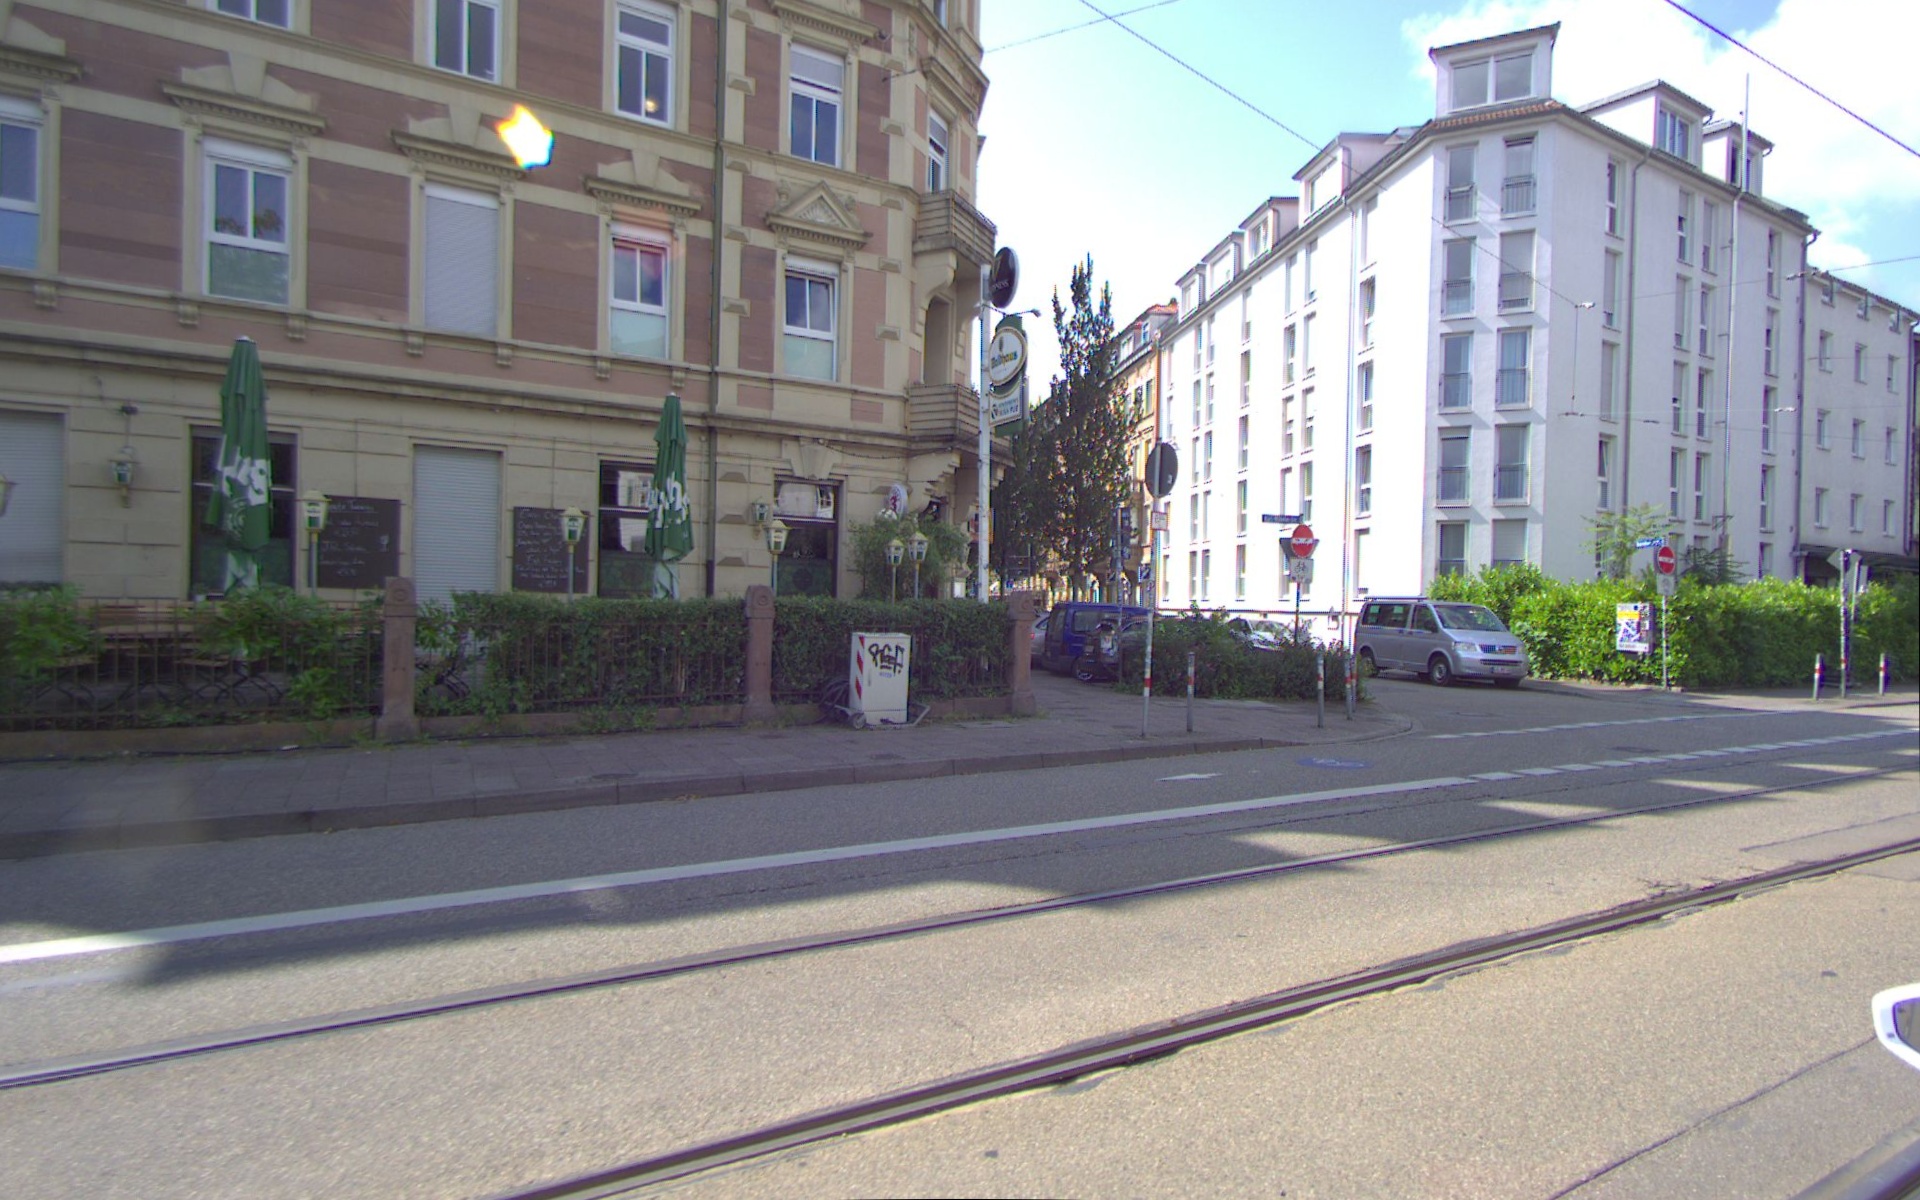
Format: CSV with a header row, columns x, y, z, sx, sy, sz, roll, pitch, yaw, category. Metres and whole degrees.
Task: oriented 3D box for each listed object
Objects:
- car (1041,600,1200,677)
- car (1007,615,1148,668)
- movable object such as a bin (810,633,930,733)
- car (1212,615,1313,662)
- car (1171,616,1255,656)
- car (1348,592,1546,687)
x,y,z,sx,sy,sz,roll,pitch,yaw,category
3.484,0.824,21.994,3.128,1.588,1.391,1,0,-11,car
2.835,1.003,24.443,3.128,1.169,1.355,1,0,-11,car
-1.012,0.906,11.257,1.101,1.001,0.741,1,2,-30,movable object such as a bin
10.127,1.267,33.933,1.757,1.432,3.967,1,0,-7,car
9.555,1.324,38.282,1.757,1.415,3.967,1,-1,-7,car
11.428,0.857,24.010,2.009,2.040,4.671,1,0,-7,car
